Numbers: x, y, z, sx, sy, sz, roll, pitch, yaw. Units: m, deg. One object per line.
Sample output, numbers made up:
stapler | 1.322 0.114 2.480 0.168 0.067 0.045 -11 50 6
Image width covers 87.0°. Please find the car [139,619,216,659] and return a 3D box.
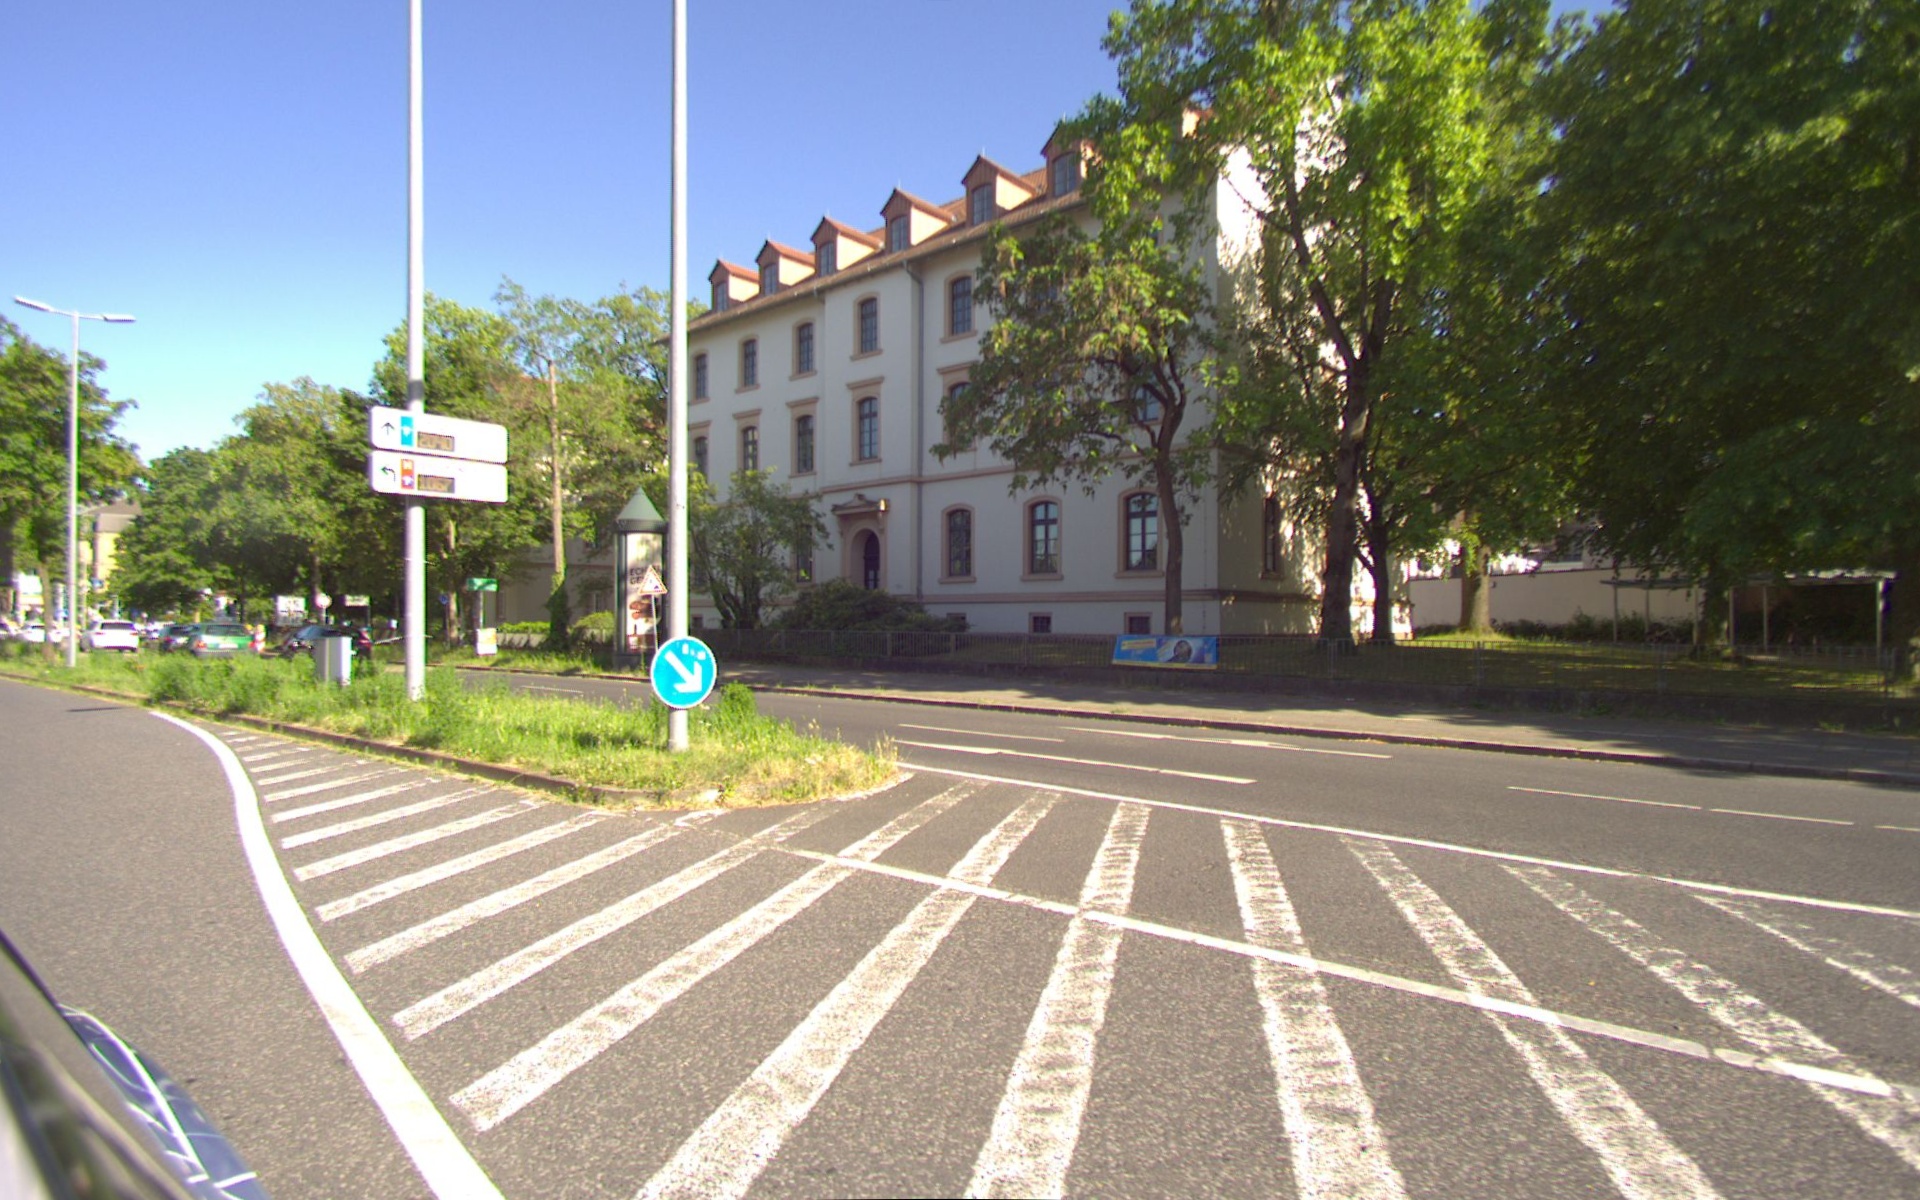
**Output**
car | -32.481 1.604 41.962 4.085 1.530 1.776 0 -2 42

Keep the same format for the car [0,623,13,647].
car | -67.905 2.441 70.876 4.254 1.530 1.778 1 1 39

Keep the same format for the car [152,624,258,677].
car | -23.774 1.544 31.819 4.252 1.530 1.622 -1 -2 38

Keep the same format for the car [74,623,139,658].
car | -41.825 1.959 49.551 4.537 1.638 1.880 -2 -3 43

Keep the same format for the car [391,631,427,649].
car | -42.660 3.050 78.393 1.744 1.333 3.506 1 -2 -41

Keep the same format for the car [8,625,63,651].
car | -55.350 2.244 60.569 4.663 1.530 1.820 -1 -2 40

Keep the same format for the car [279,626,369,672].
car | -23.449 1.761 37.253 4.424 1.530 1.776 -1 -1 44
